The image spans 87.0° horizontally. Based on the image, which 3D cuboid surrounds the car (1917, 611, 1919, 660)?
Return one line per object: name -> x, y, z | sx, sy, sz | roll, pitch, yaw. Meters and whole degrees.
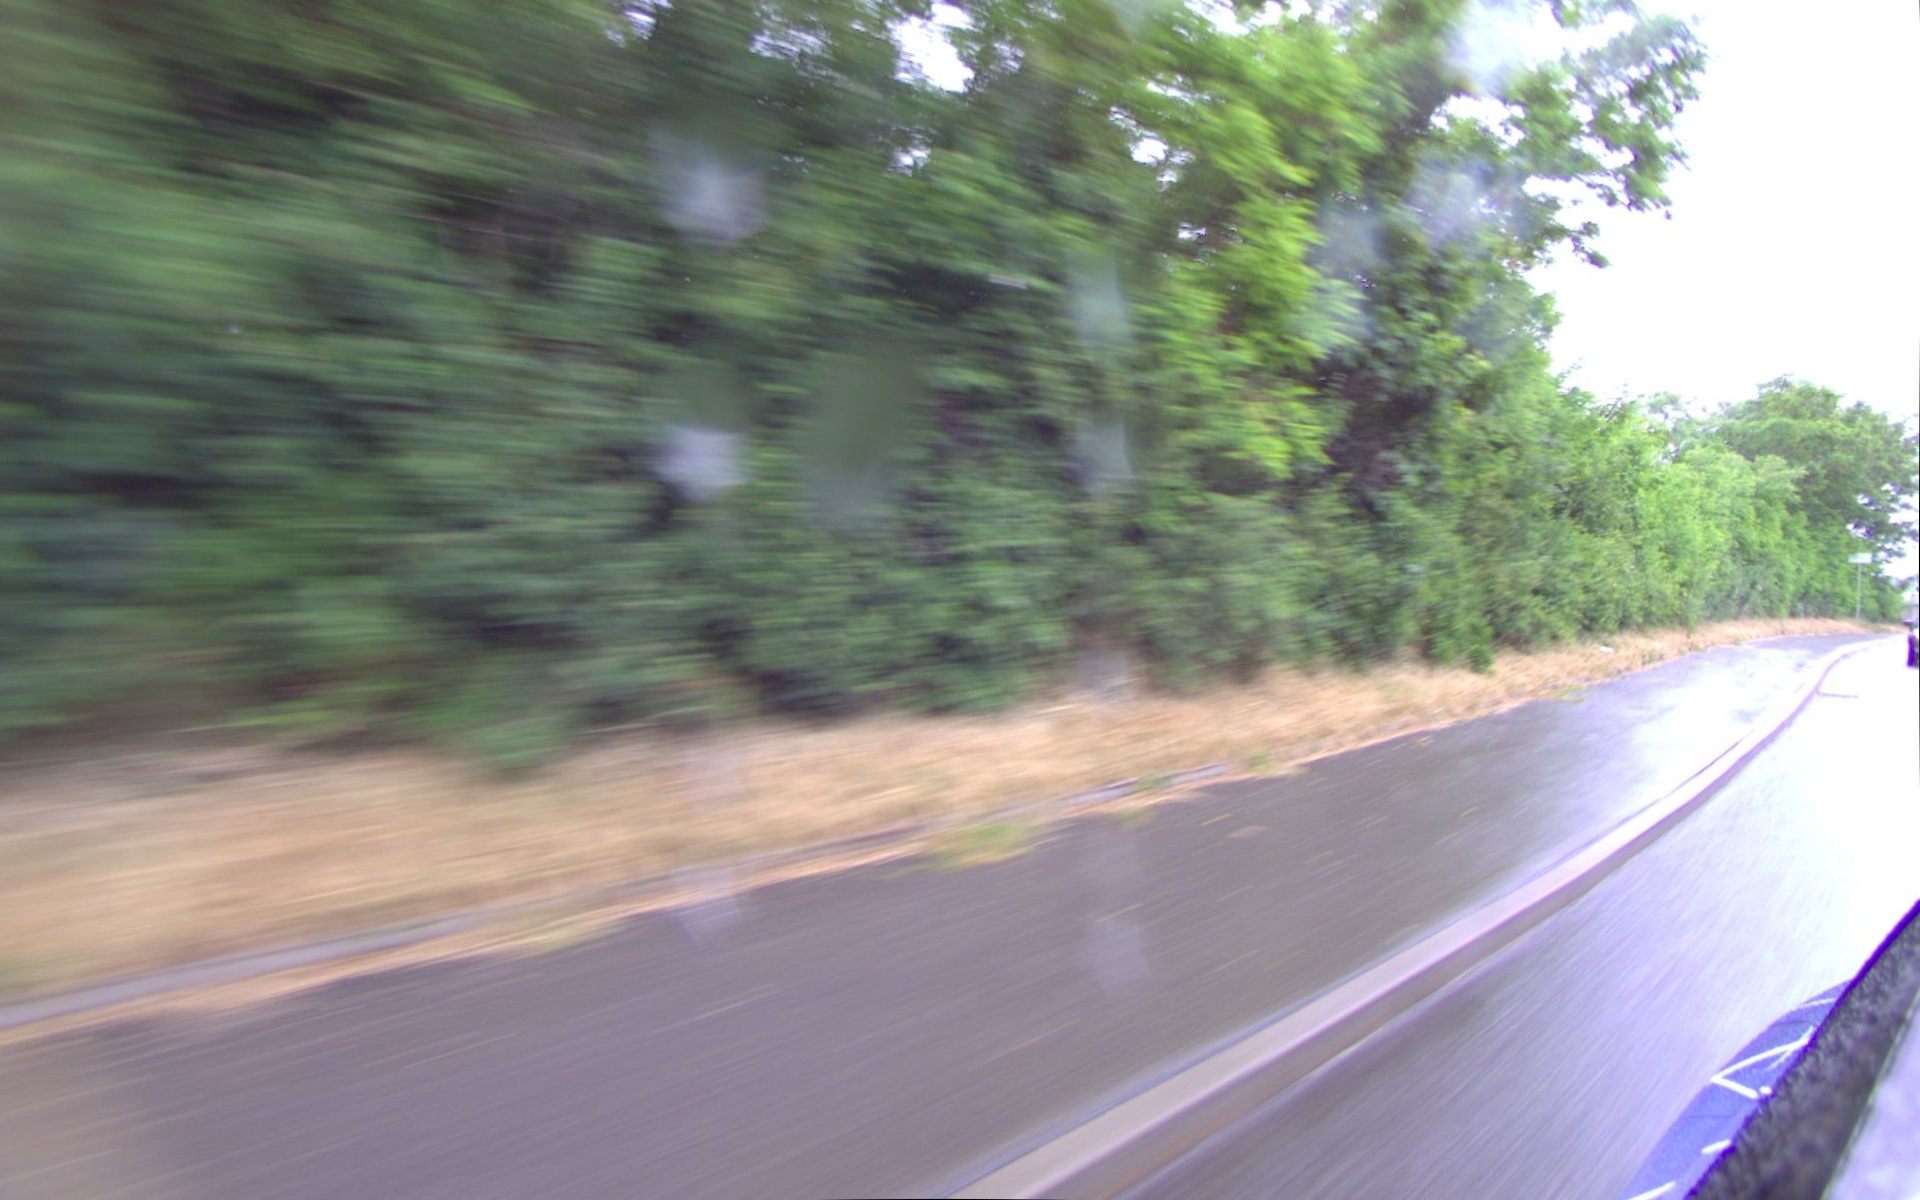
car -> 23.393, 0.669, 23.119 | 4.303, 1.459, 1.872 | 1, 3, -42
